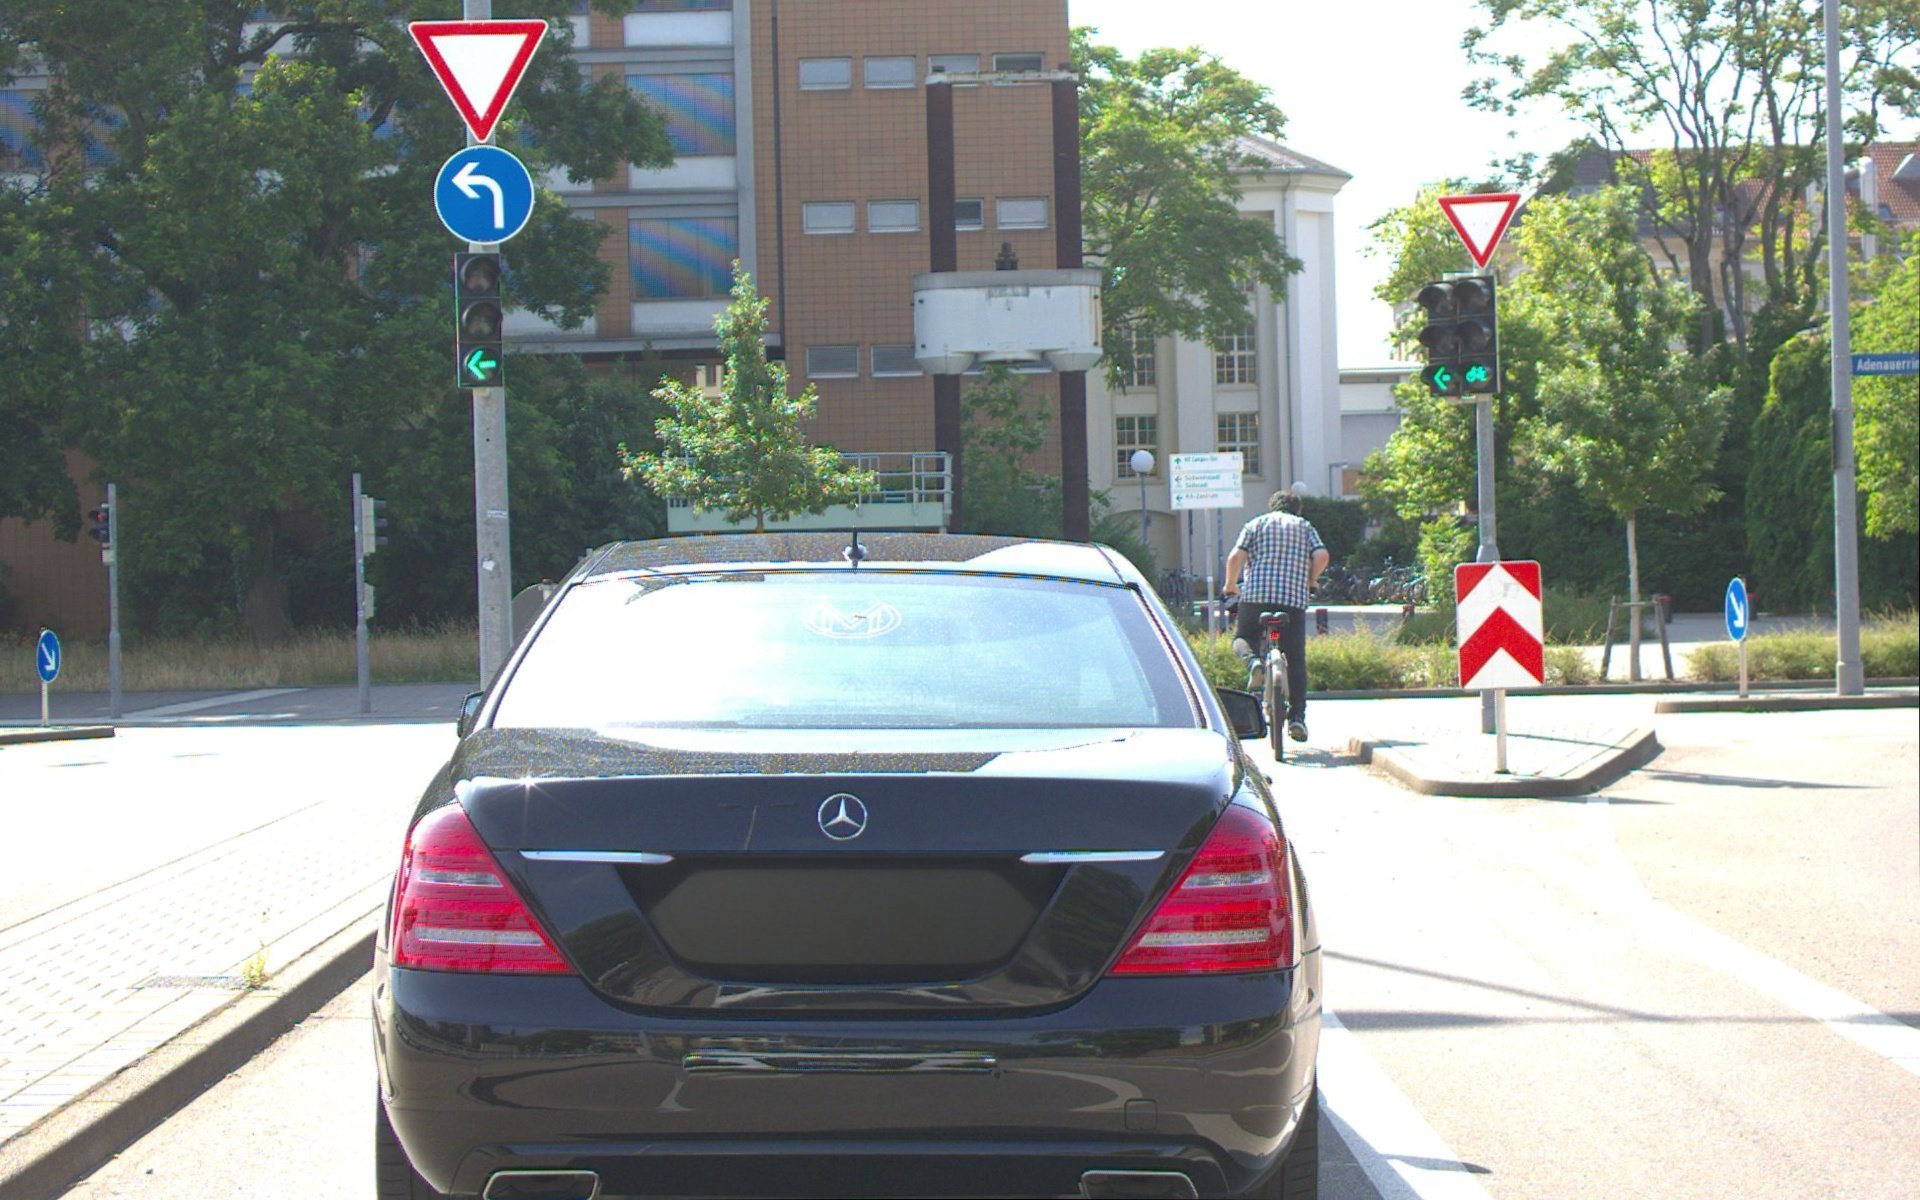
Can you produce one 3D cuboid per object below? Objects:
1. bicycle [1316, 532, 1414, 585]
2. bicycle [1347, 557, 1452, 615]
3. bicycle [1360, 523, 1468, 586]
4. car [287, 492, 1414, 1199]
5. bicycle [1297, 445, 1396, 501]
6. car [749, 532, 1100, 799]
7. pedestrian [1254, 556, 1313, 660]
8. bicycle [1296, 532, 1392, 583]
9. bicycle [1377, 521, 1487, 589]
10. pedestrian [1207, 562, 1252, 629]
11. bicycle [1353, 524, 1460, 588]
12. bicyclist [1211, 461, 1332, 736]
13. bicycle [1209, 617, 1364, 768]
[{"bbox_3d":[12.275,-1.264,104.344,2.823,1.495,0.842,-2,1,-1],"label":"bicycle"},{"bbox_3d":[12.531,-0.401,98.083,2.823,1.532,0.842,-2,1,-1],"label":"bicycle"},{"bbox_3d":[12.541,-1.252,95.058,2.823,1.643,0.842,-2,1,-1],"label":"bicycle"},{"bbox_3d":[-0.262,0.569,8.051,1.858,1.525,4.714,0,1,-2],"label":"car"},{"bbox_3d":[11.517,-3.793,102.459,2.823,1.553,0.842,-2,1,-1],"label":"bicycle"},{"bbox_3d":[-0.224,0.356,21.709,1.993,1.503,4.000,1,1,-1],"label":"car"},{"bbox_3d":[4.970,0.119,52.835,0.811,1.574,0.692,-2,0,2],"label":"pedestrian"},{"bbox_3d":[11.846,-1.301,106.089,2.823,1.475,0.841,-2,1,0],"label":"bicycle"},{"bbox_3d":[12.830,-1.223,93.581,2.823,1.738,0.842,-2,1,-1],"label":"bicycle"},{"bbox_3d":[4.974,-0.085,63.428,0.793,1.209,0.757,1,0,6],"label":"pedestrian"},{"bbox_3d":[12.476,-1.232,96.078,2.823,1.653,0.842,-2,2,-1],"label":"bicycle"},{"bbox_3d":[2.157,-0.014,23.870,0.685,1.872,0.860,0,0,-5],"label":"bicyclist"},{"bbox_3d":[2.201,0.609,23.412,0.692,0.943,1.958,1,1,-5],"label":"bicycle"}]
